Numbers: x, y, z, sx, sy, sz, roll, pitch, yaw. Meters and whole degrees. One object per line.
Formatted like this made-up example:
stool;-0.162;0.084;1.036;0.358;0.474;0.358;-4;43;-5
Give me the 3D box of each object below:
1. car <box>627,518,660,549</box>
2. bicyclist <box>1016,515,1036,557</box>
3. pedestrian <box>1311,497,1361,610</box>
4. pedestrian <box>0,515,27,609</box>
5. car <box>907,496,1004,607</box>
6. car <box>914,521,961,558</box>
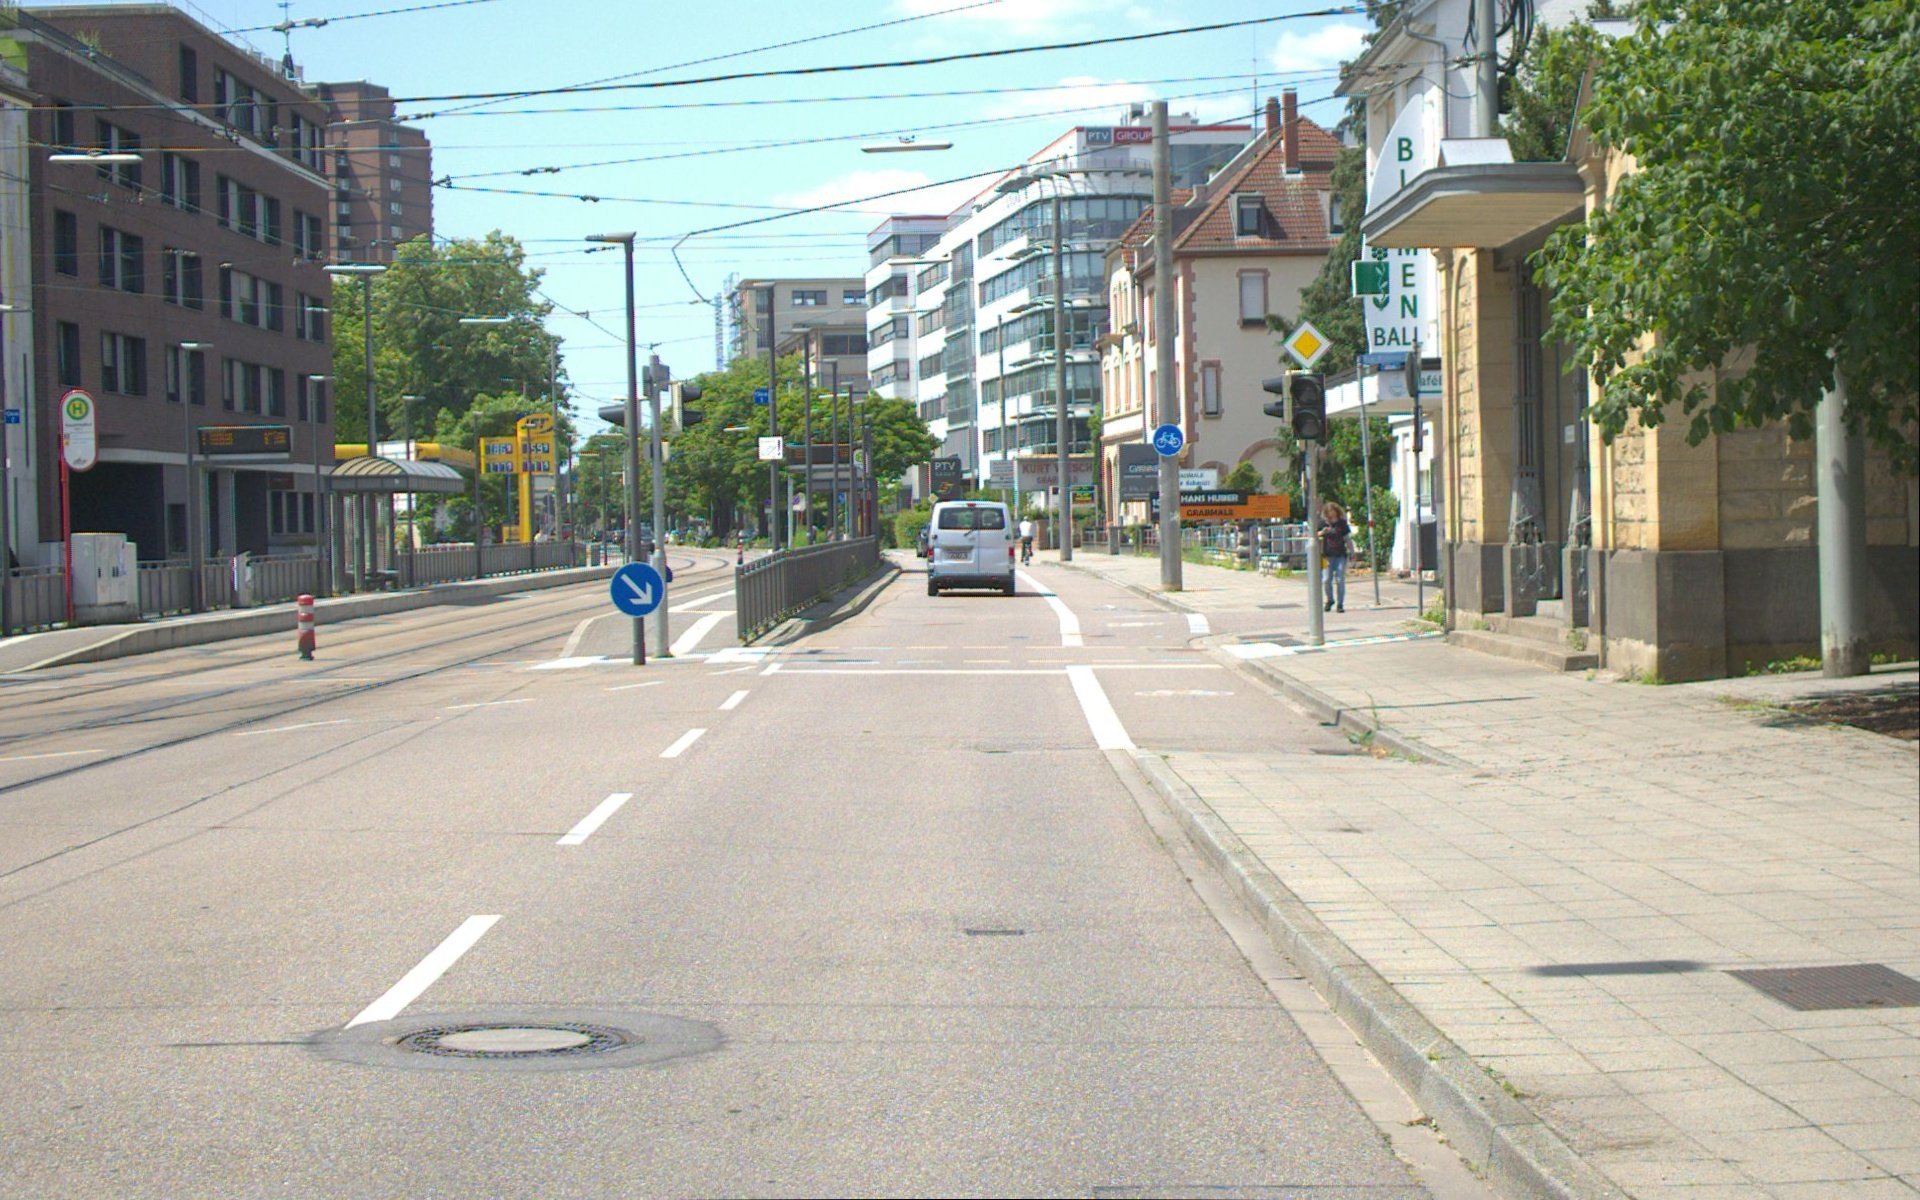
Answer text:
car;-19.563;-4.101;212.468;1.698;1.610;3.758;-5;-1;-8
bicyclist;2.182;-2.116;114.011;0.591;1.392;0.842;-1;1;-4
pedestrian;5.303;-0.657;48.497;0.577;1.551;0.786;-3;0;3
pedestrian;-20.471;-0.812;73.823;0.676;2.007;0.685;0;0;-2
car;-0.093;-0.981;67.359;1.752;2.006;4.001;-2;2;0
car;-1.117;-2.962;167.412;1.863;1.681;5.001;-2;2;-5
